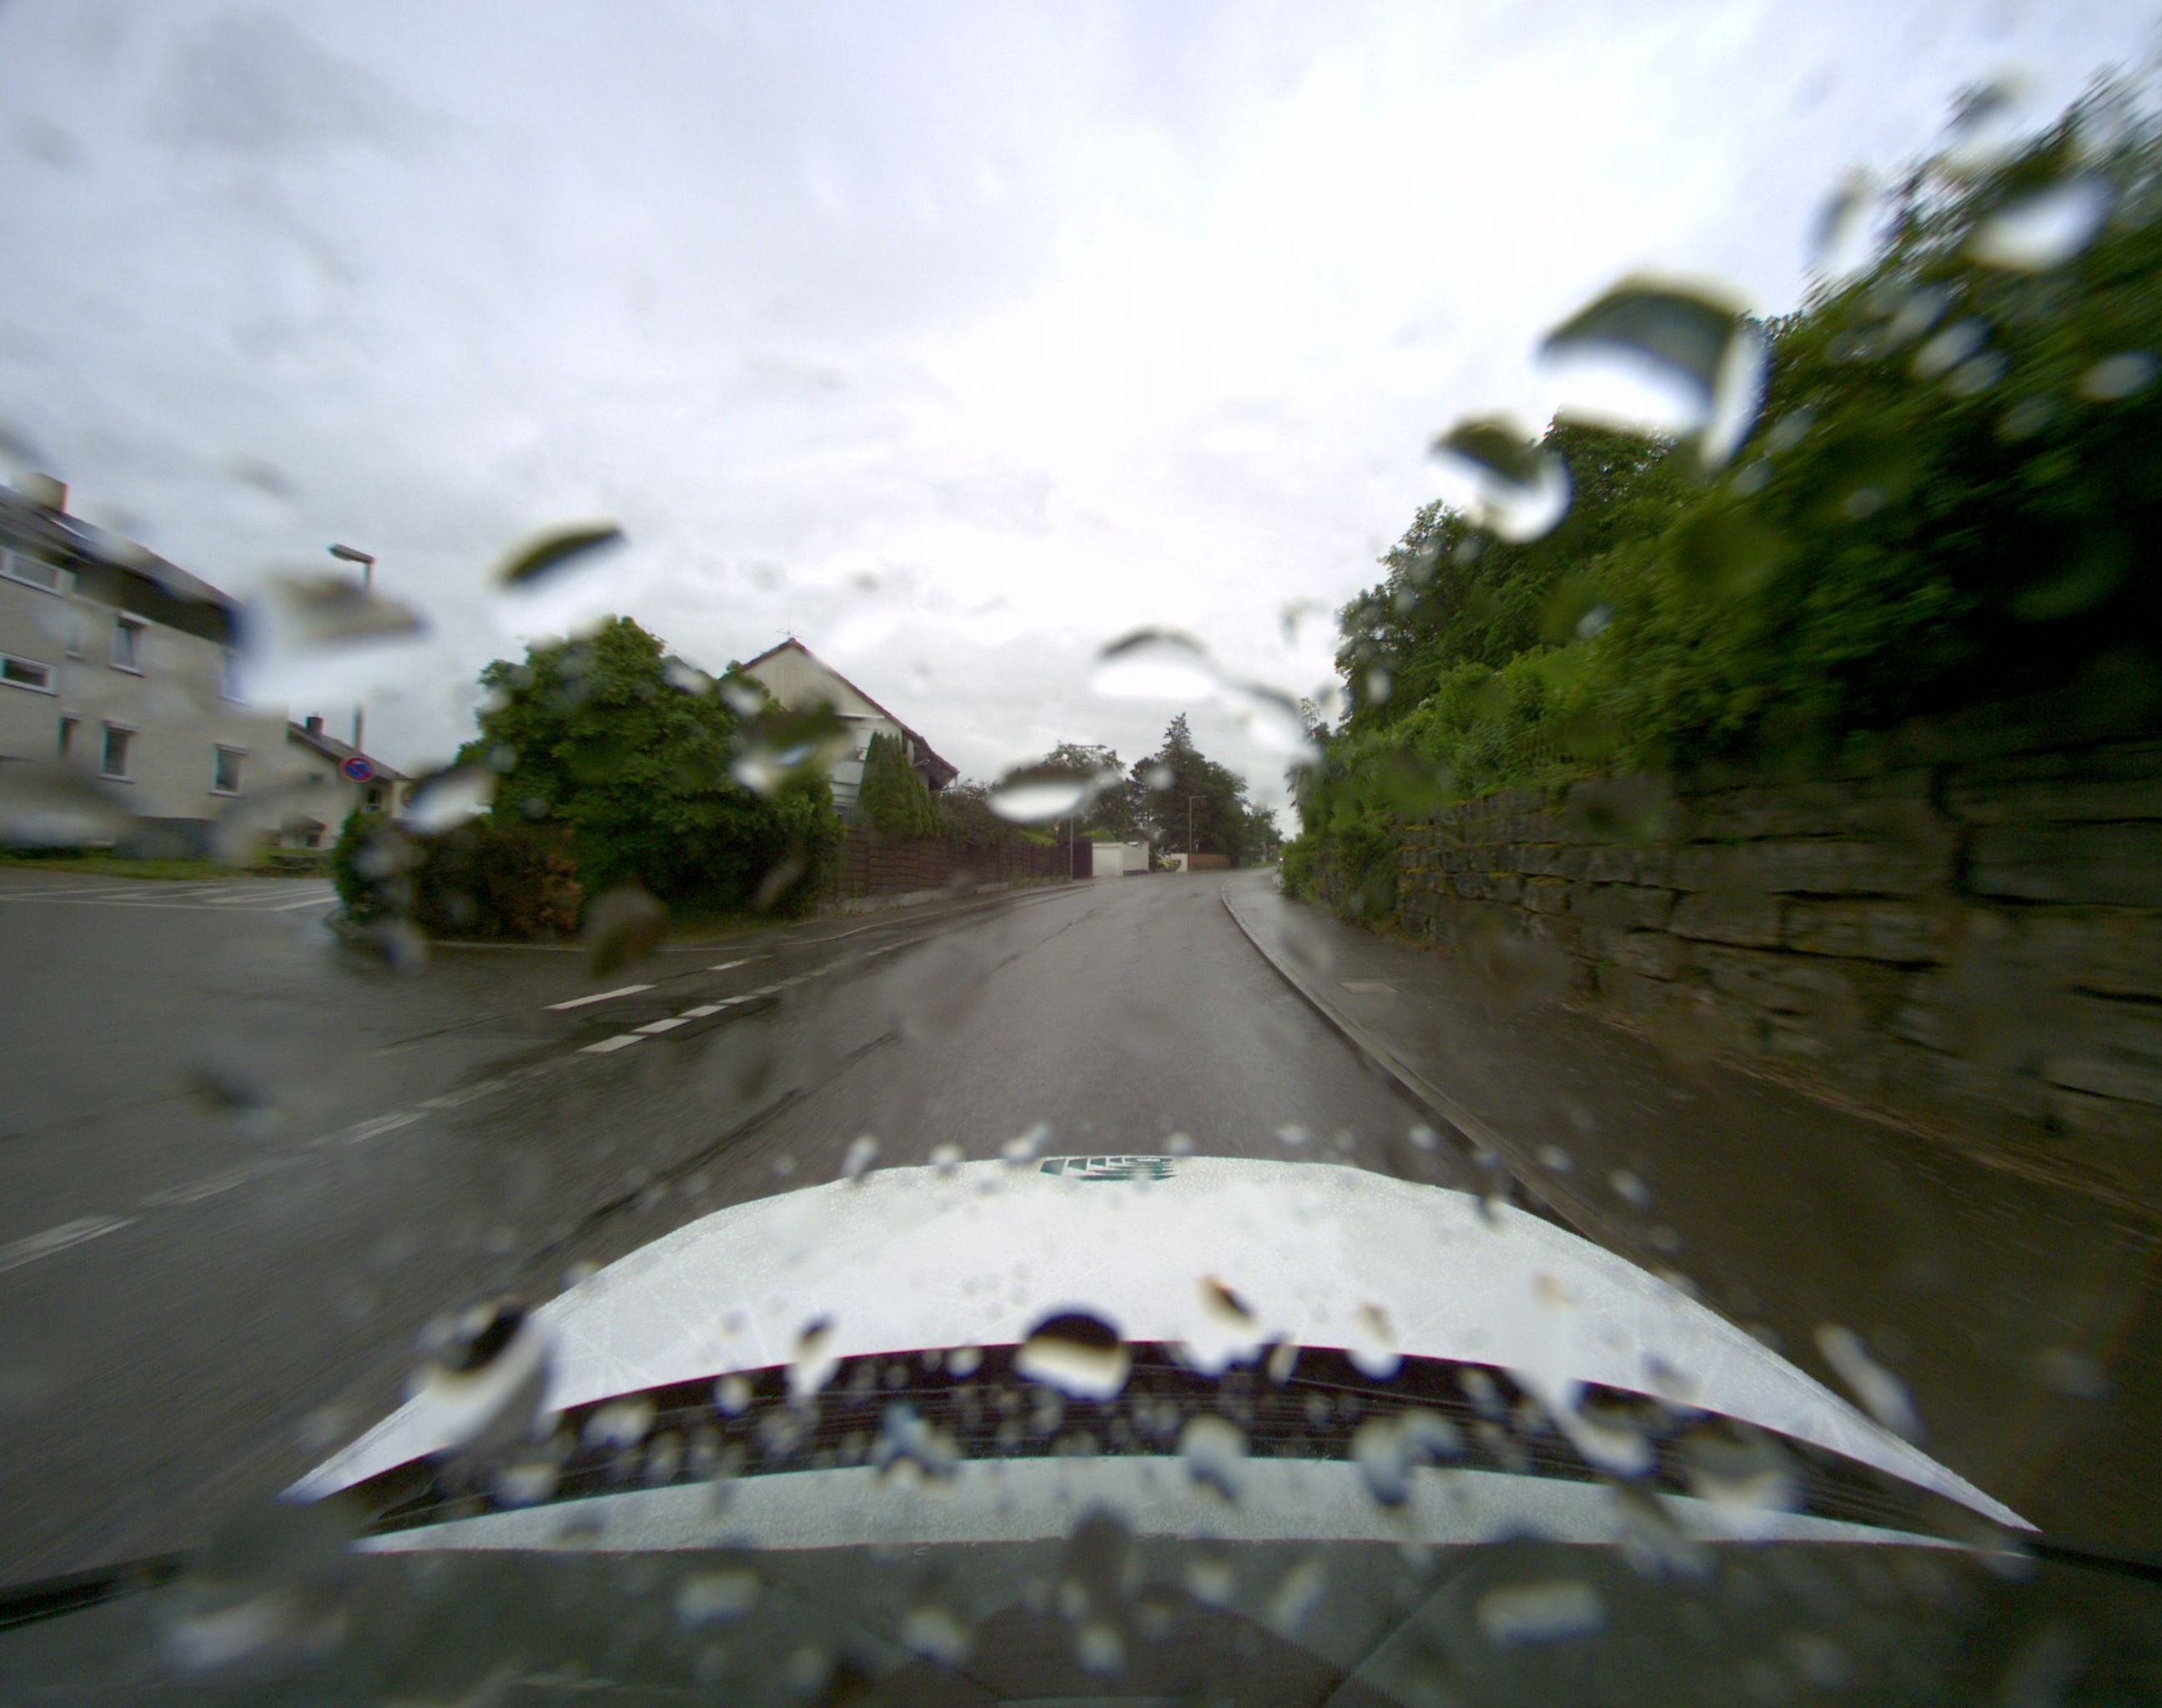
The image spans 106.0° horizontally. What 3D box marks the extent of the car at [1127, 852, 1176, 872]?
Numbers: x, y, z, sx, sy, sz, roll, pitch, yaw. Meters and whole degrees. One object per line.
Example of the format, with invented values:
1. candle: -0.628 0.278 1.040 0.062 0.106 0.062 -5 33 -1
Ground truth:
1. car: 7.055 0.755 81.402 4.463 1.860 2.101 -2 -1 22
